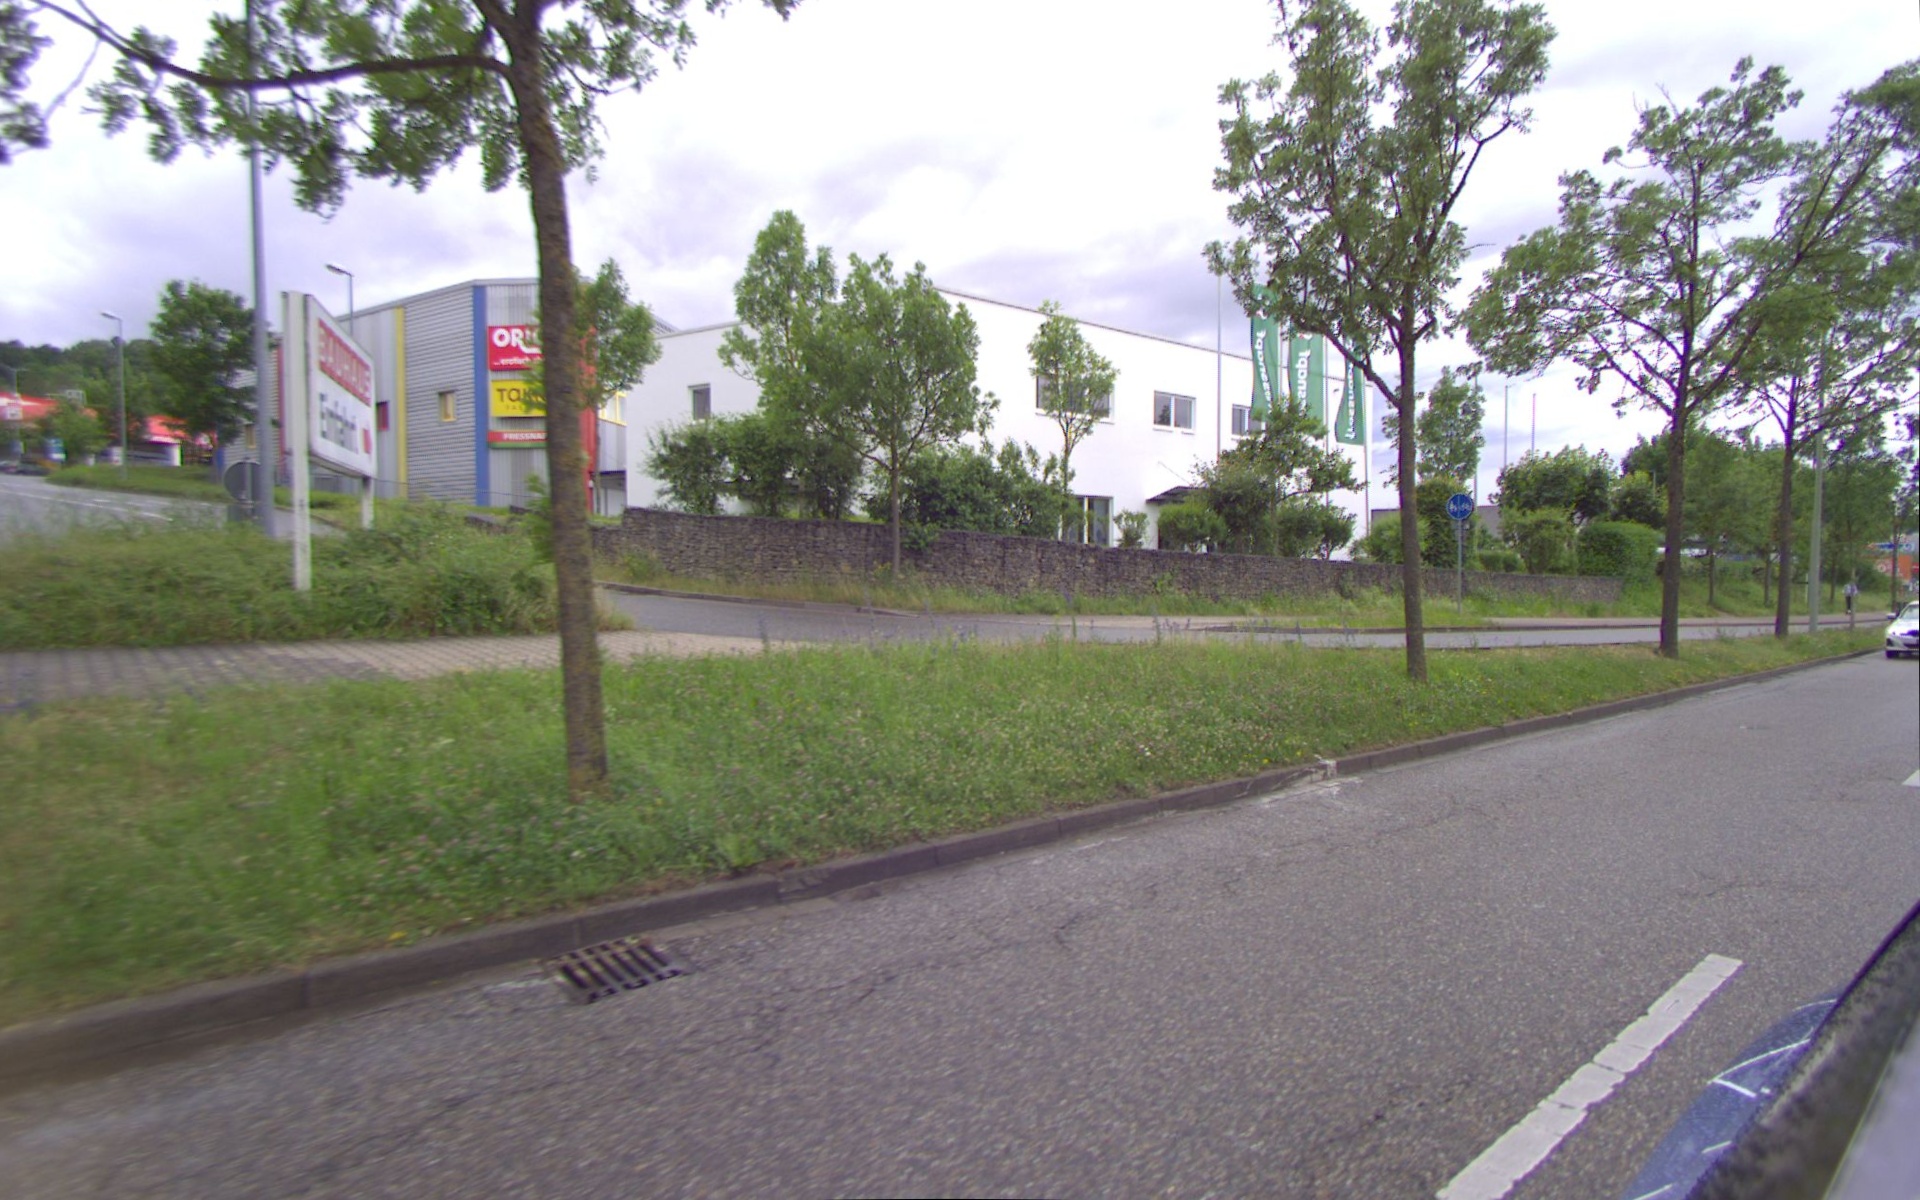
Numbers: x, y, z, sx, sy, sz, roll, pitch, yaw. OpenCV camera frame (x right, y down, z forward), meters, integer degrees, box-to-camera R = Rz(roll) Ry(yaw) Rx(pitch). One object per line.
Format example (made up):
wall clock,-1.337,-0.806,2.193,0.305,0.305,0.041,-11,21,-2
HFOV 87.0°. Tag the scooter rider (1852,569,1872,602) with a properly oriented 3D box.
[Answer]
scooter rider,52.062,-0.843,58.404,0.843,1.842,0.696,-1,4,-41

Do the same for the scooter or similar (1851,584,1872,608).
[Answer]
scooter or similar,52.057,-0.234,58.452,1.377,1.279,0.696,-1,4,-42

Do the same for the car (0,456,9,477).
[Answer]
car,-72.311,-9.800,73.856,1.770,1.536,3.995,3,6,8

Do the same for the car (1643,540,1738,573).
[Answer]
car,55.485,-3.320,76.943,5.609,2.167,2.090,7,5,42

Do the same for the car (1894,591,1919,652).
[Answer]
car,25.218,0.522,25.497,4.459,1.458,1.808,-1,1,-38

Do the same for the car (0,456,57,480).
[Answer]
car,-67.218,-9.432,72.204,1.770,1.536,3.995,3,6,8
